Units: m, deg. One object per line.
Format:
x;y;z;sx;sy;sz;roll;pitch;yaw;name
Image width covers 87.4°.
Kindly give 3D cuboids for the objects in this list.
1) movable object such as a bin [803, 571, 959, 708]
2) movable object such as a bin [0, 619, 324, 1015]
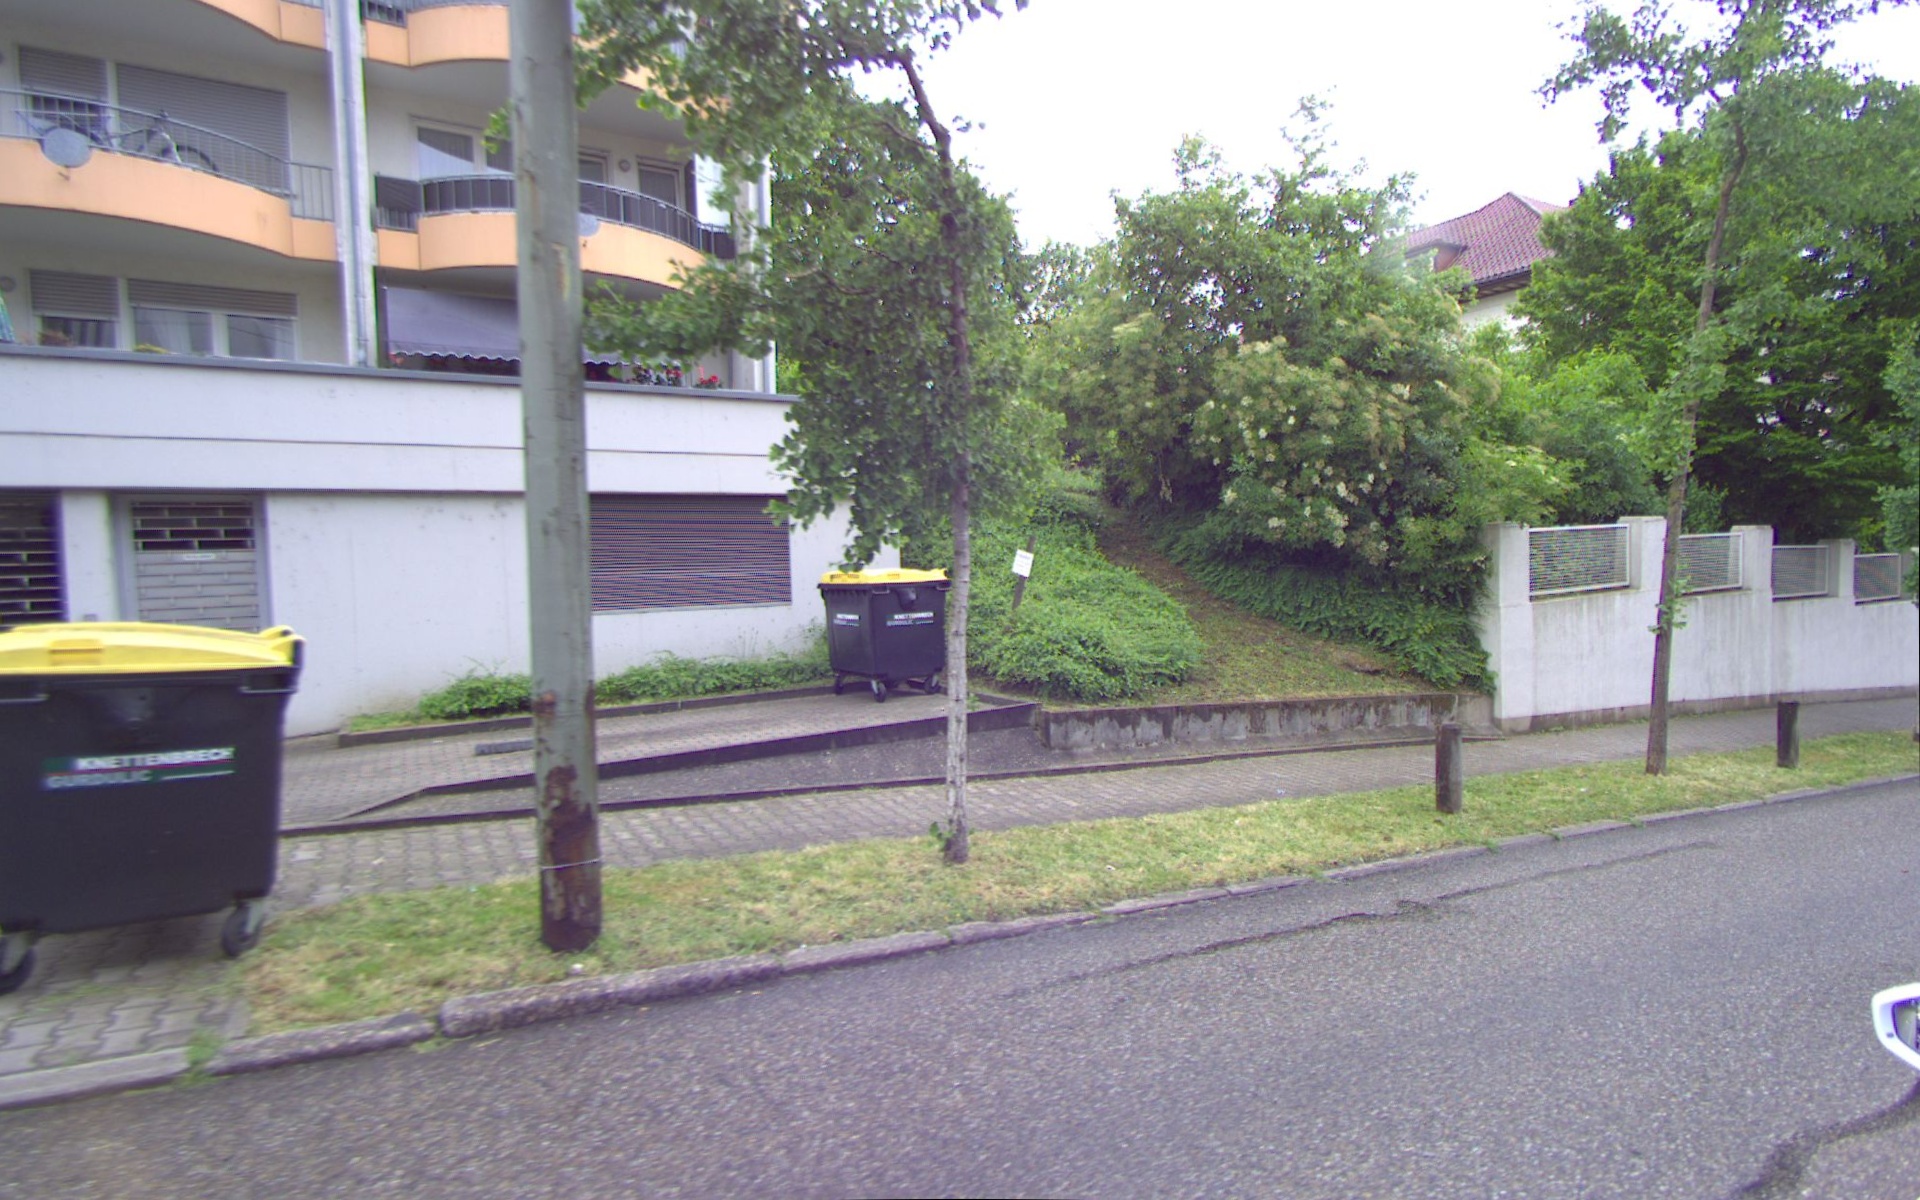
-0.857;0.368;10.748;1.152;1.333;1.252;-3;3;-38;movable object such as a bin
-3.453;0.788;4.293;1.113;1.368;1.213;1;0;-38;movable object such as a bin
